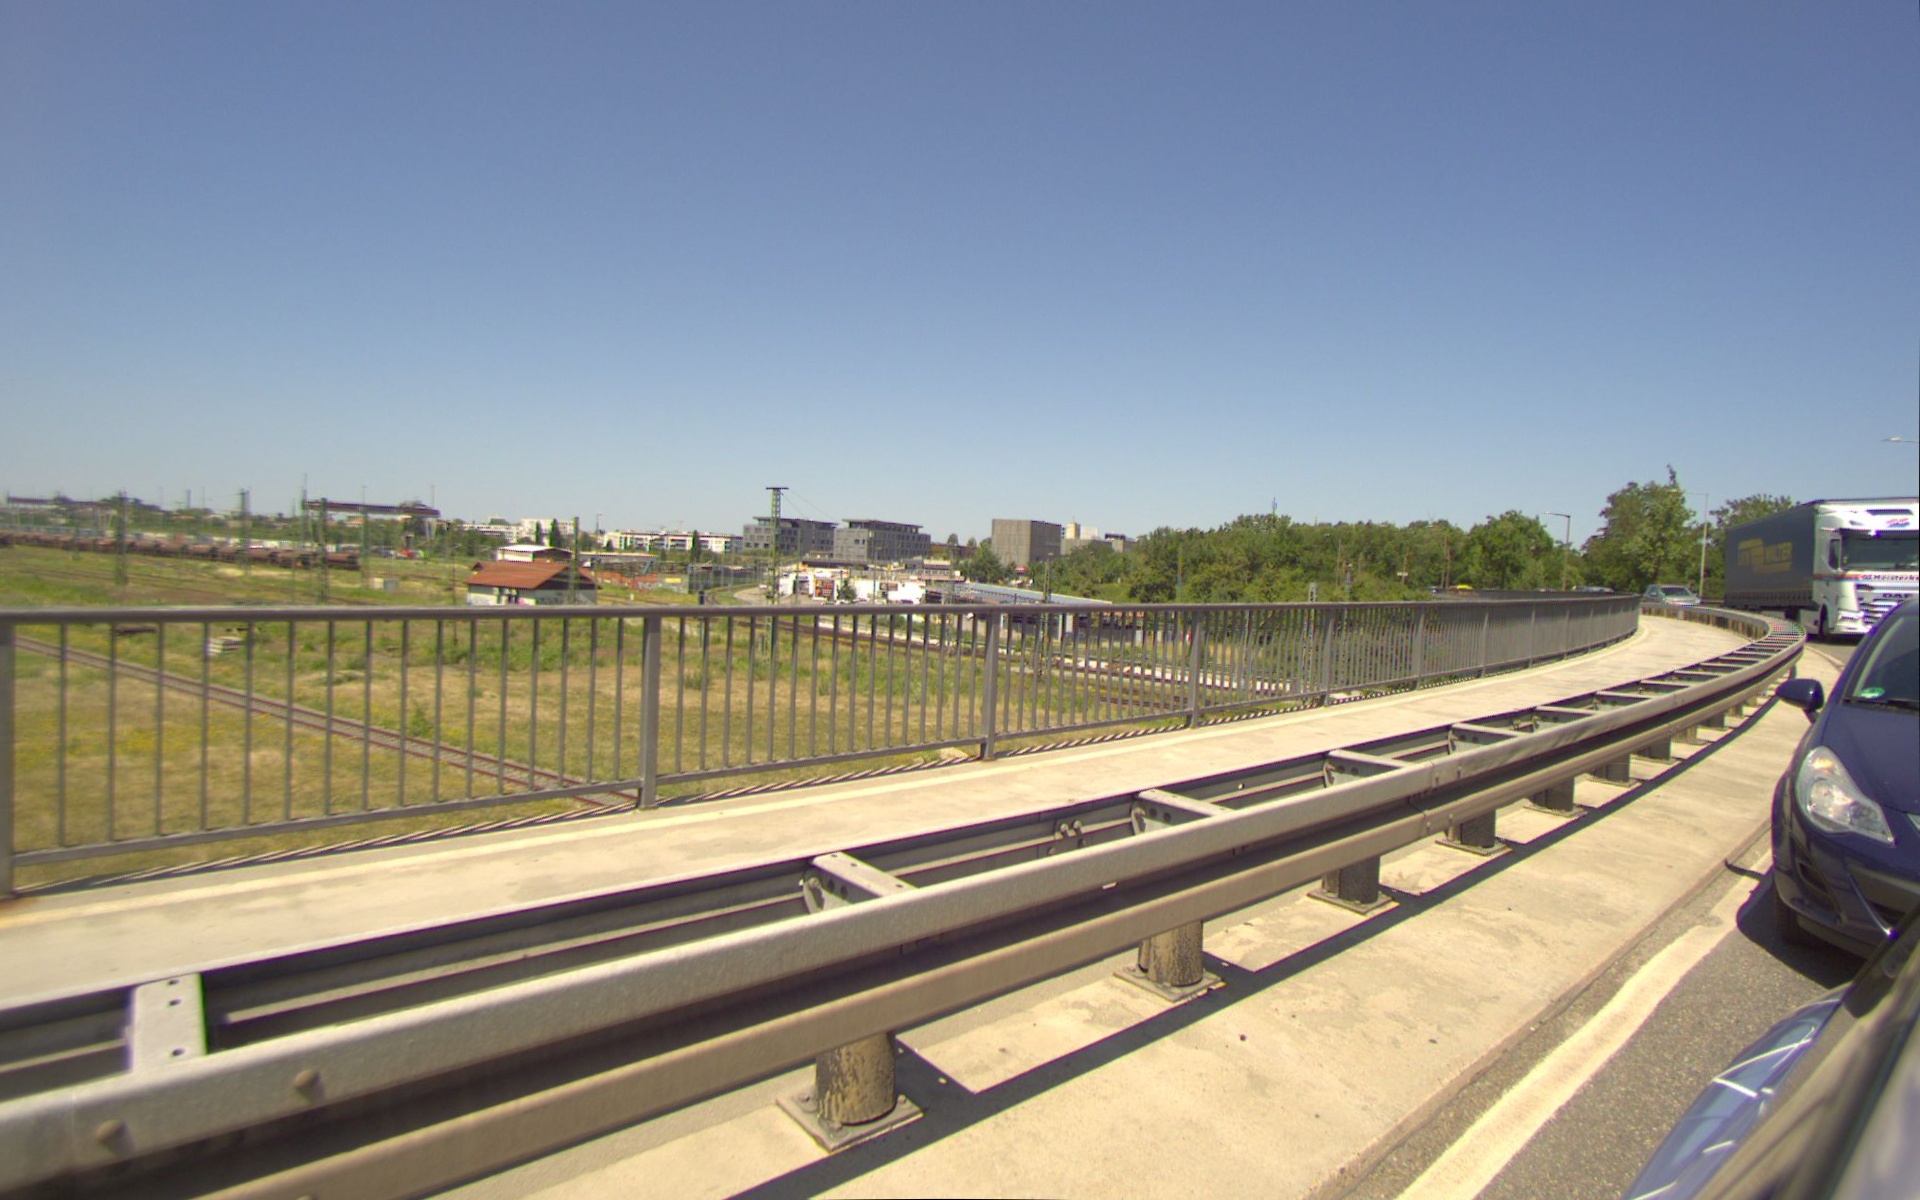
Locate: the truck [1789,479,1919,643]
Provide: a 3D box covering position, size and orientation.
[{"bbox_3d":[26.697,-1.107,29.528,2.673,4.281,6.771,0,1,29],"label":"truck"}]

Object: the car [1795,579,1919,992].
[{"bbox_3d":[5.109,0.645,4.629,1.641,1.457,3.936,1,1,45],"label":"car"}]

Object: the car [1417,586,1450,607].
[{"bbox_3d":[52.798,-0.393,112.933,1.777,2.040,3.798,-1,-4,0],"label":"car"}]

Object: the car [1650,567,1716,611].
[{"bbox_3d":[38.925,-0.562,54.608,1.978,2.040,3.966,-3,-4,24],"label":"car"}]

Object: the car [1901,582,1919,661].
[{"bbox_3d":[18.781,0.405,18.524,1.785,1.473,4.463,0,0,37],"label":"car"}]

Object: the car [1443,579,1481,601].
[{"bbox_3d":[48.762,-0.996,98.414,1.965,2.039,3.995,0,1,5],"label":"car"}]

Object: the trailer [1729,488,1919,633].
[{"bbox_3d":[30.268,-1.311,36.072,2.678,4.287,12.587,0,1,29],"label":"trailer"}]
